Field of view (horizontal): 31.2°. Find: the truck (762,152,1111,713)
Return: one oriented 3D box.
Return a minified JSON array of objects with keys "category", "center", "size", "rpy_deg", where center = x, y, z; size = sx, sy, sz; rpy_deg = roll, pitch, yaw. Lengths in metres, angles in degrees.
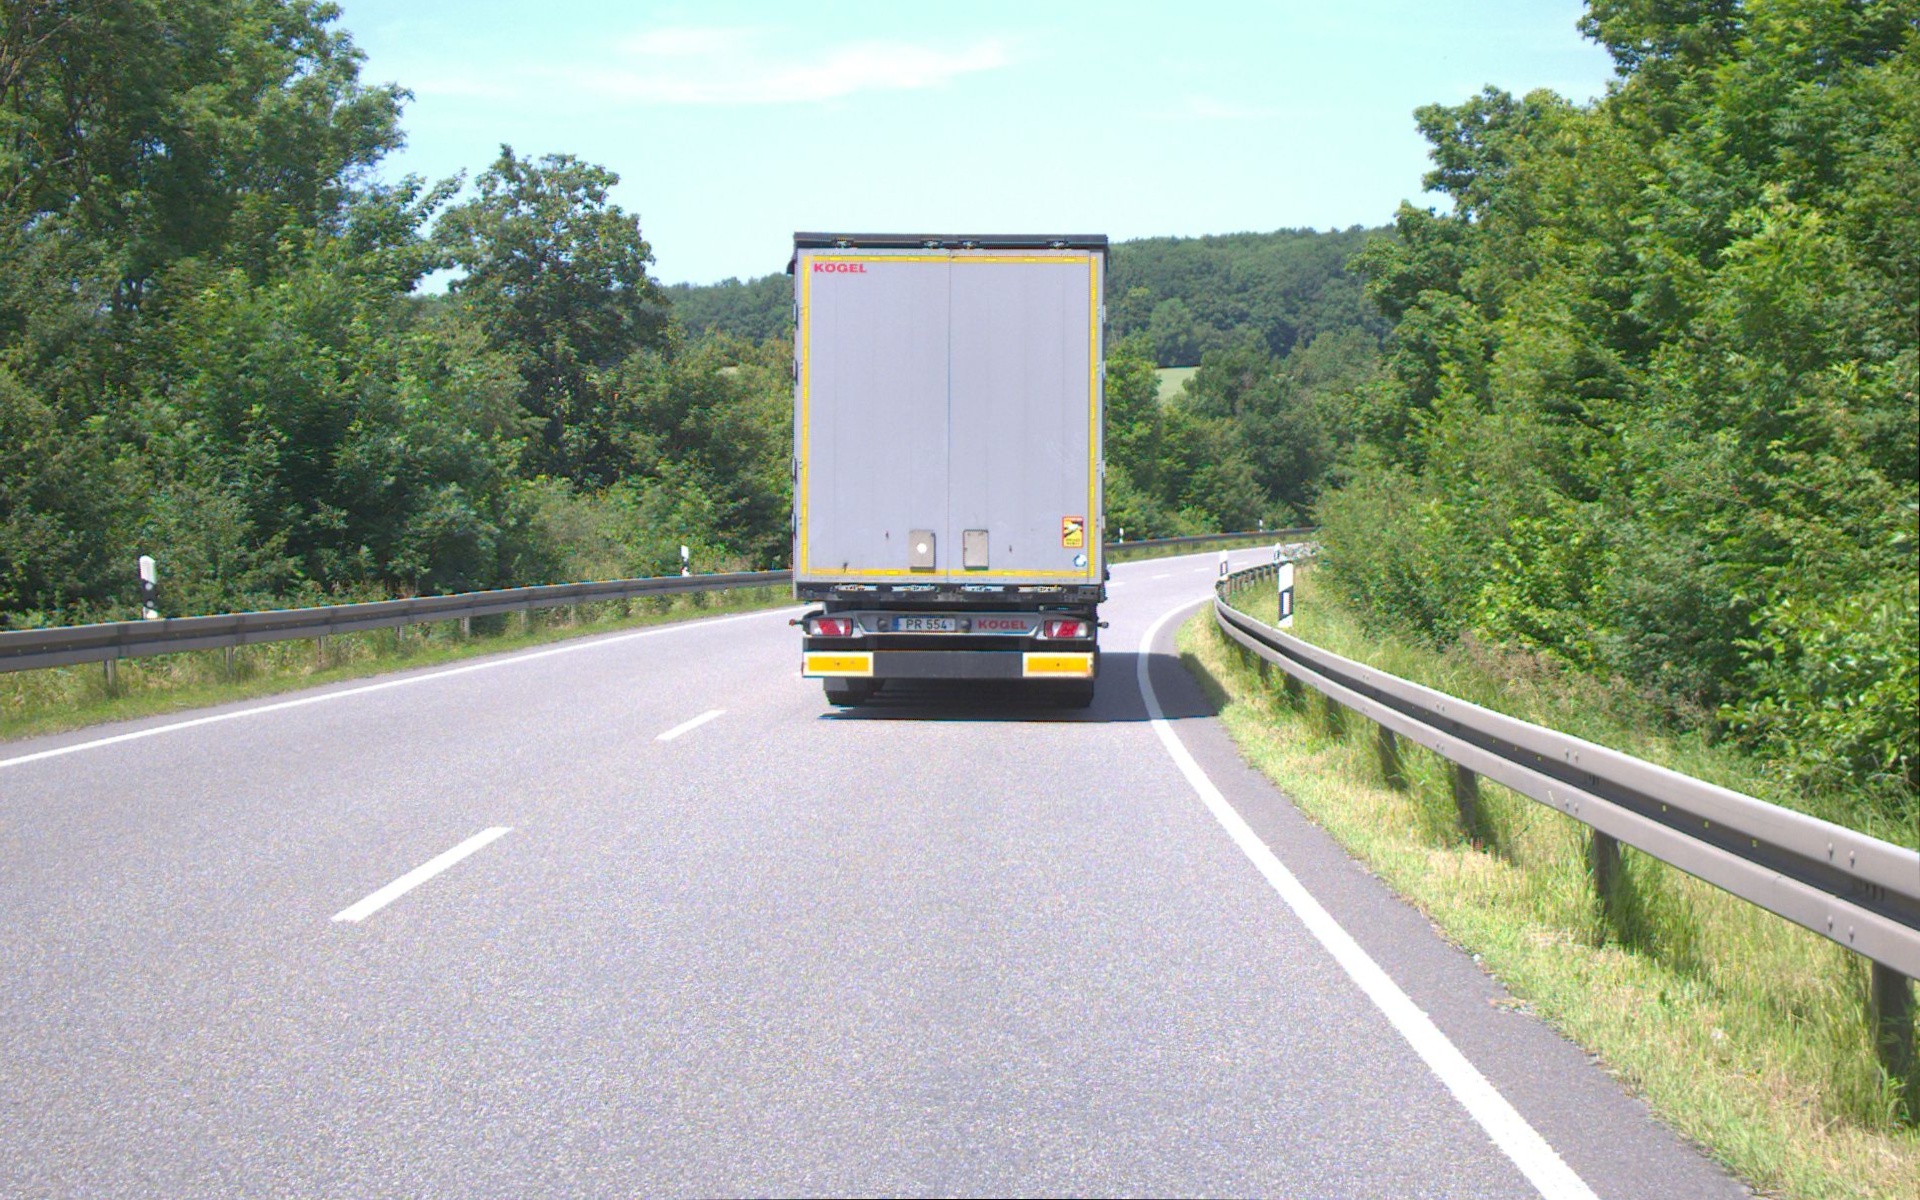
[{"category":"truck","center":[-0.008,-1.465,33.609],"size":[2.817,4.517,11.768],"rpy_deg":[0,1,2]}]
